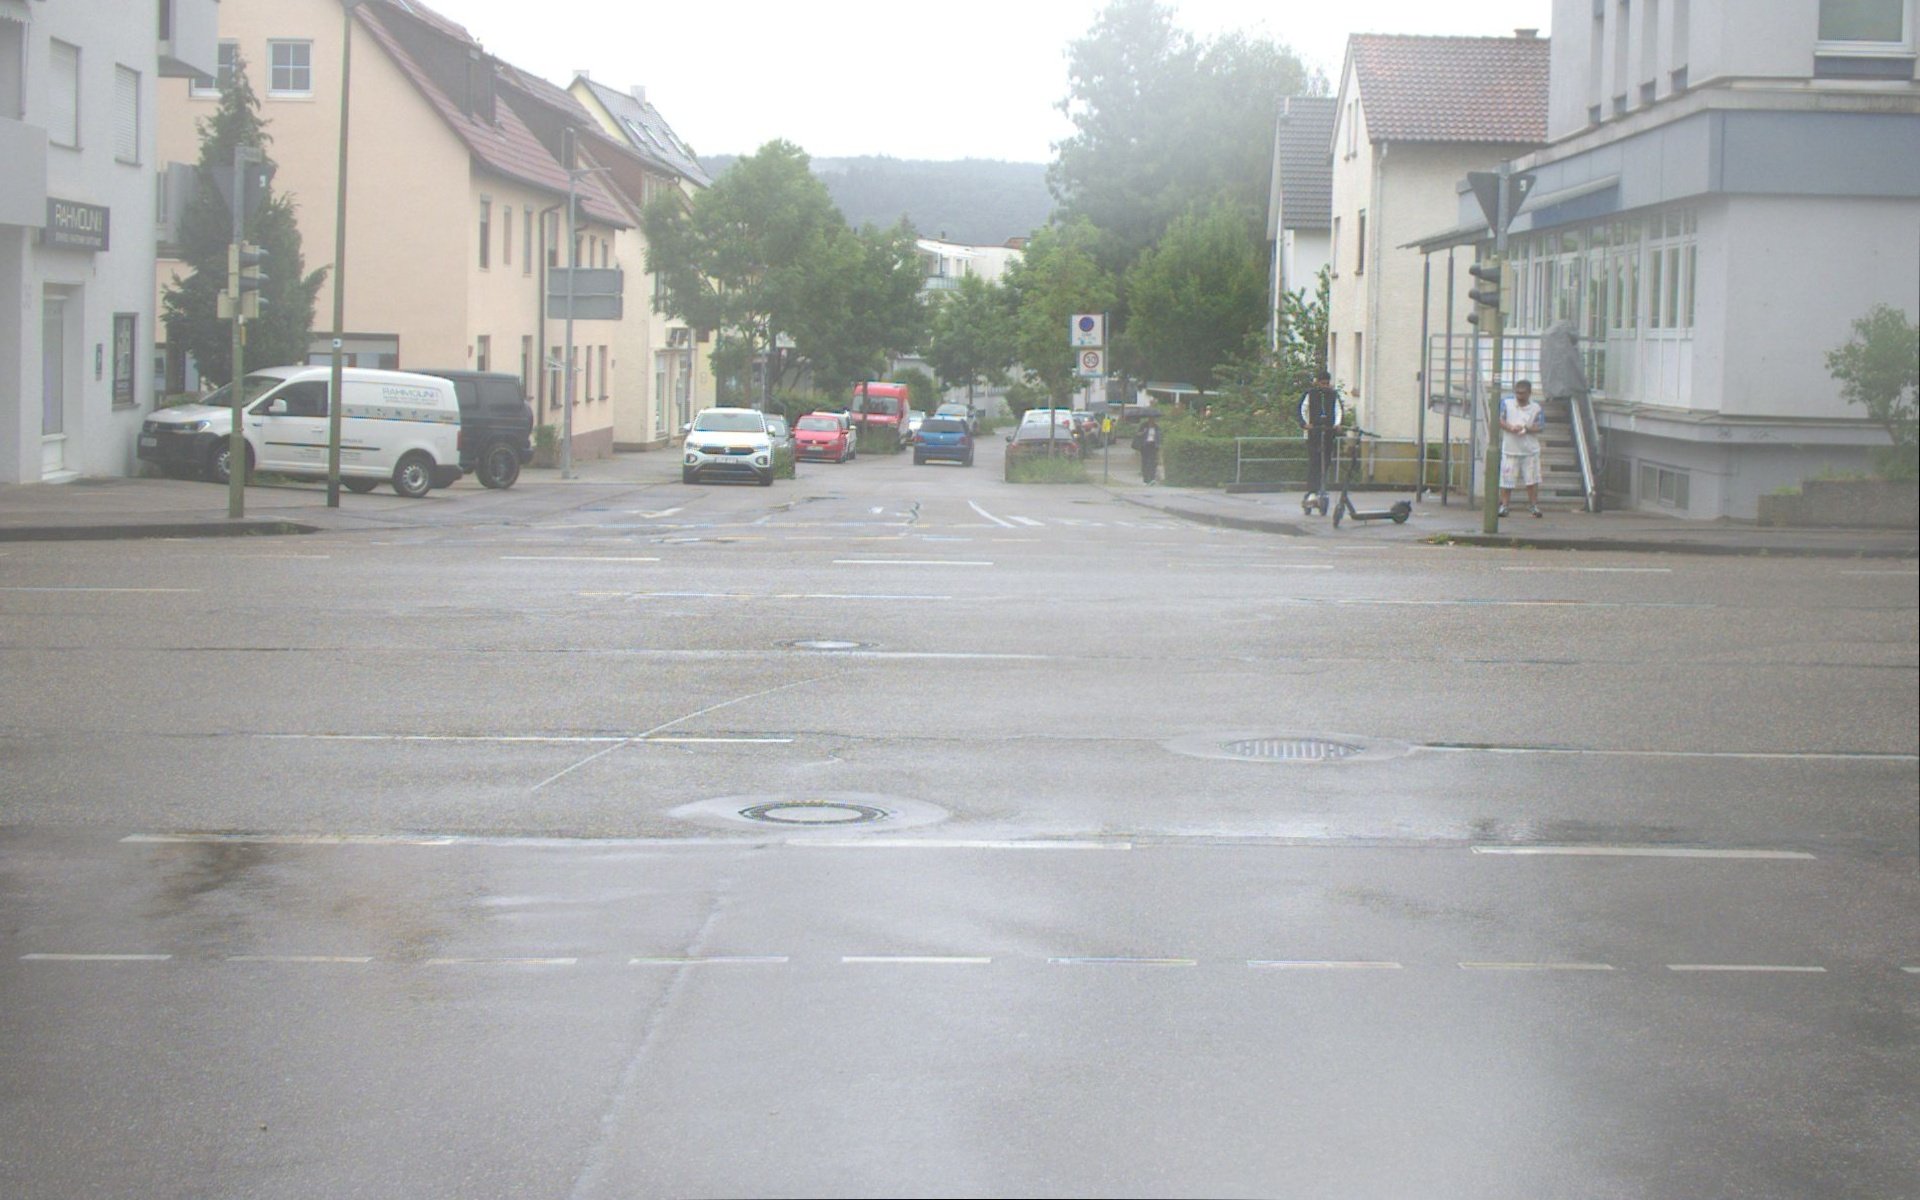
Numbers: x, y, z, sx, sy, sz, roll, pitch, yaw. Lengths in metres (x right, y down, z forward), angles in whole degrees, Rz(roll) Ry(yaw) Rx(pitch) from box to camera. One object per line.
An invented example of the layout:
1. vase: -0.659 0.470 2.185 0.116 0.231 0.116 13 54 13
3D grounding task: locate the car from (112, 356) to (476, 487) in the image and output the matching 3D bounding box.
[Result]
1. car: -9.683 -2.586 50.156 4.830 1.829 2.000 -2 3 -38

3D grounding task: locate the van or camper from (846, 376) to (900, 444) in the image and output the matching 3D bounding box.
1. van or camper: -3.249 -7.090 128.908 1.901 2.504 4.239 0 3 0

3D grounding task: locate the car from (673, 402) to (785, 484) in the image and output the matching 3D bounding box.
1. car: -4.705 -3.226 70.487 1.993 1.620 4.192 0 3 0

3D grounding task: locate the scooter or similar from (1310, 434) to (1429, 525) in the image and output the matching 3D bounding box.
1. scooter or similar: 4.897 -1.447 41.150 1.268 1.077 0.877 0 3 -4

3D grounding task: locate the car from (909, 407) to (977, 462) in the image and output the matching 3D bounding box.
1. car: -0.540 -5.147 106.721 1.993 1.678 4.001 0 3 -2

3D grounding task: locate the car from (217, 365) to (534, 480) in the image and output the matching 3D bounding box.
1. car: -9.680 -2.933 57.121 4.830 1.829 2.000 -2 3 -38

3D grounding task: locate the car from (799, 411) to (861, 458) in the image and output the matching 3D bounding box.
1. car: -4.342 -5.558 115.313 1.901 1.553 4.192 0 3 0

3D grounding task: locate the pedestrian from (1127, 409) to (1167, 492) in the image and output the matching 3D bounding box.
1. pedestrian: 4.269 -3.397 78.328 0.745 1.842 0.526 4 2 -1

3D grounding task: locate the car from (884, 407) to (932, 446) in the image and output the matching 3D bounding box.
1. car: -2.119 -7.106 141.105 1.901 1.553 4.192 0 3 0

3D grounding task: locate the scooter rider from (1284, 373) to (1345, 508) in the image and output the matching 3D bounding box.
1. scooter rider: 4.755 -2.138 46.156 0.752 1.789 0.673 0 2 1

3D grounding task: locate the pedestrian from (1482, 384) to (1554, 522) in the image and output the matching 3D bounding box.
1. pedestrian: 6.843 -1.808 42.195 0.647 1.641 0.526 4 2 -6

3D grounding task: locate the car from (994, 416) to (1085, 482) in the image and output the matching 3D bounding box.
1. car: 1.923 -3.696 84.145 2.146 1.583 4.128 0 3 0

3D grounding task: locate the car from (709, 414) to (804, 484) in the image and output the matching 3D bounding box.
1. car: -4.818 -3.603 81.888 1.993 1.620 4.192 0 3 0

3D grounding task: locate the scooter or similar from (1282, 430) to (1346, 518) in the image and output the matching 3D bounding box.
1. scooter or similar: 4.742 -1.699 46.117 0.757 1.167 1.314 0 3 2

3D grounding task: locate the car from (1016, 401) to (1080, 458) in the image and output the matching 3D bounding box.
1. car: 2.702 -5.258 106.168 1.901 1.739 4.192 0 3 0

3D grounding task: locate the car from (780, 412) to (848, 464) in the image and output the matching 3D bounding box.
1. car: -4.529 -5.039 106.915 1.901 1.553 4.192 0 3 0
